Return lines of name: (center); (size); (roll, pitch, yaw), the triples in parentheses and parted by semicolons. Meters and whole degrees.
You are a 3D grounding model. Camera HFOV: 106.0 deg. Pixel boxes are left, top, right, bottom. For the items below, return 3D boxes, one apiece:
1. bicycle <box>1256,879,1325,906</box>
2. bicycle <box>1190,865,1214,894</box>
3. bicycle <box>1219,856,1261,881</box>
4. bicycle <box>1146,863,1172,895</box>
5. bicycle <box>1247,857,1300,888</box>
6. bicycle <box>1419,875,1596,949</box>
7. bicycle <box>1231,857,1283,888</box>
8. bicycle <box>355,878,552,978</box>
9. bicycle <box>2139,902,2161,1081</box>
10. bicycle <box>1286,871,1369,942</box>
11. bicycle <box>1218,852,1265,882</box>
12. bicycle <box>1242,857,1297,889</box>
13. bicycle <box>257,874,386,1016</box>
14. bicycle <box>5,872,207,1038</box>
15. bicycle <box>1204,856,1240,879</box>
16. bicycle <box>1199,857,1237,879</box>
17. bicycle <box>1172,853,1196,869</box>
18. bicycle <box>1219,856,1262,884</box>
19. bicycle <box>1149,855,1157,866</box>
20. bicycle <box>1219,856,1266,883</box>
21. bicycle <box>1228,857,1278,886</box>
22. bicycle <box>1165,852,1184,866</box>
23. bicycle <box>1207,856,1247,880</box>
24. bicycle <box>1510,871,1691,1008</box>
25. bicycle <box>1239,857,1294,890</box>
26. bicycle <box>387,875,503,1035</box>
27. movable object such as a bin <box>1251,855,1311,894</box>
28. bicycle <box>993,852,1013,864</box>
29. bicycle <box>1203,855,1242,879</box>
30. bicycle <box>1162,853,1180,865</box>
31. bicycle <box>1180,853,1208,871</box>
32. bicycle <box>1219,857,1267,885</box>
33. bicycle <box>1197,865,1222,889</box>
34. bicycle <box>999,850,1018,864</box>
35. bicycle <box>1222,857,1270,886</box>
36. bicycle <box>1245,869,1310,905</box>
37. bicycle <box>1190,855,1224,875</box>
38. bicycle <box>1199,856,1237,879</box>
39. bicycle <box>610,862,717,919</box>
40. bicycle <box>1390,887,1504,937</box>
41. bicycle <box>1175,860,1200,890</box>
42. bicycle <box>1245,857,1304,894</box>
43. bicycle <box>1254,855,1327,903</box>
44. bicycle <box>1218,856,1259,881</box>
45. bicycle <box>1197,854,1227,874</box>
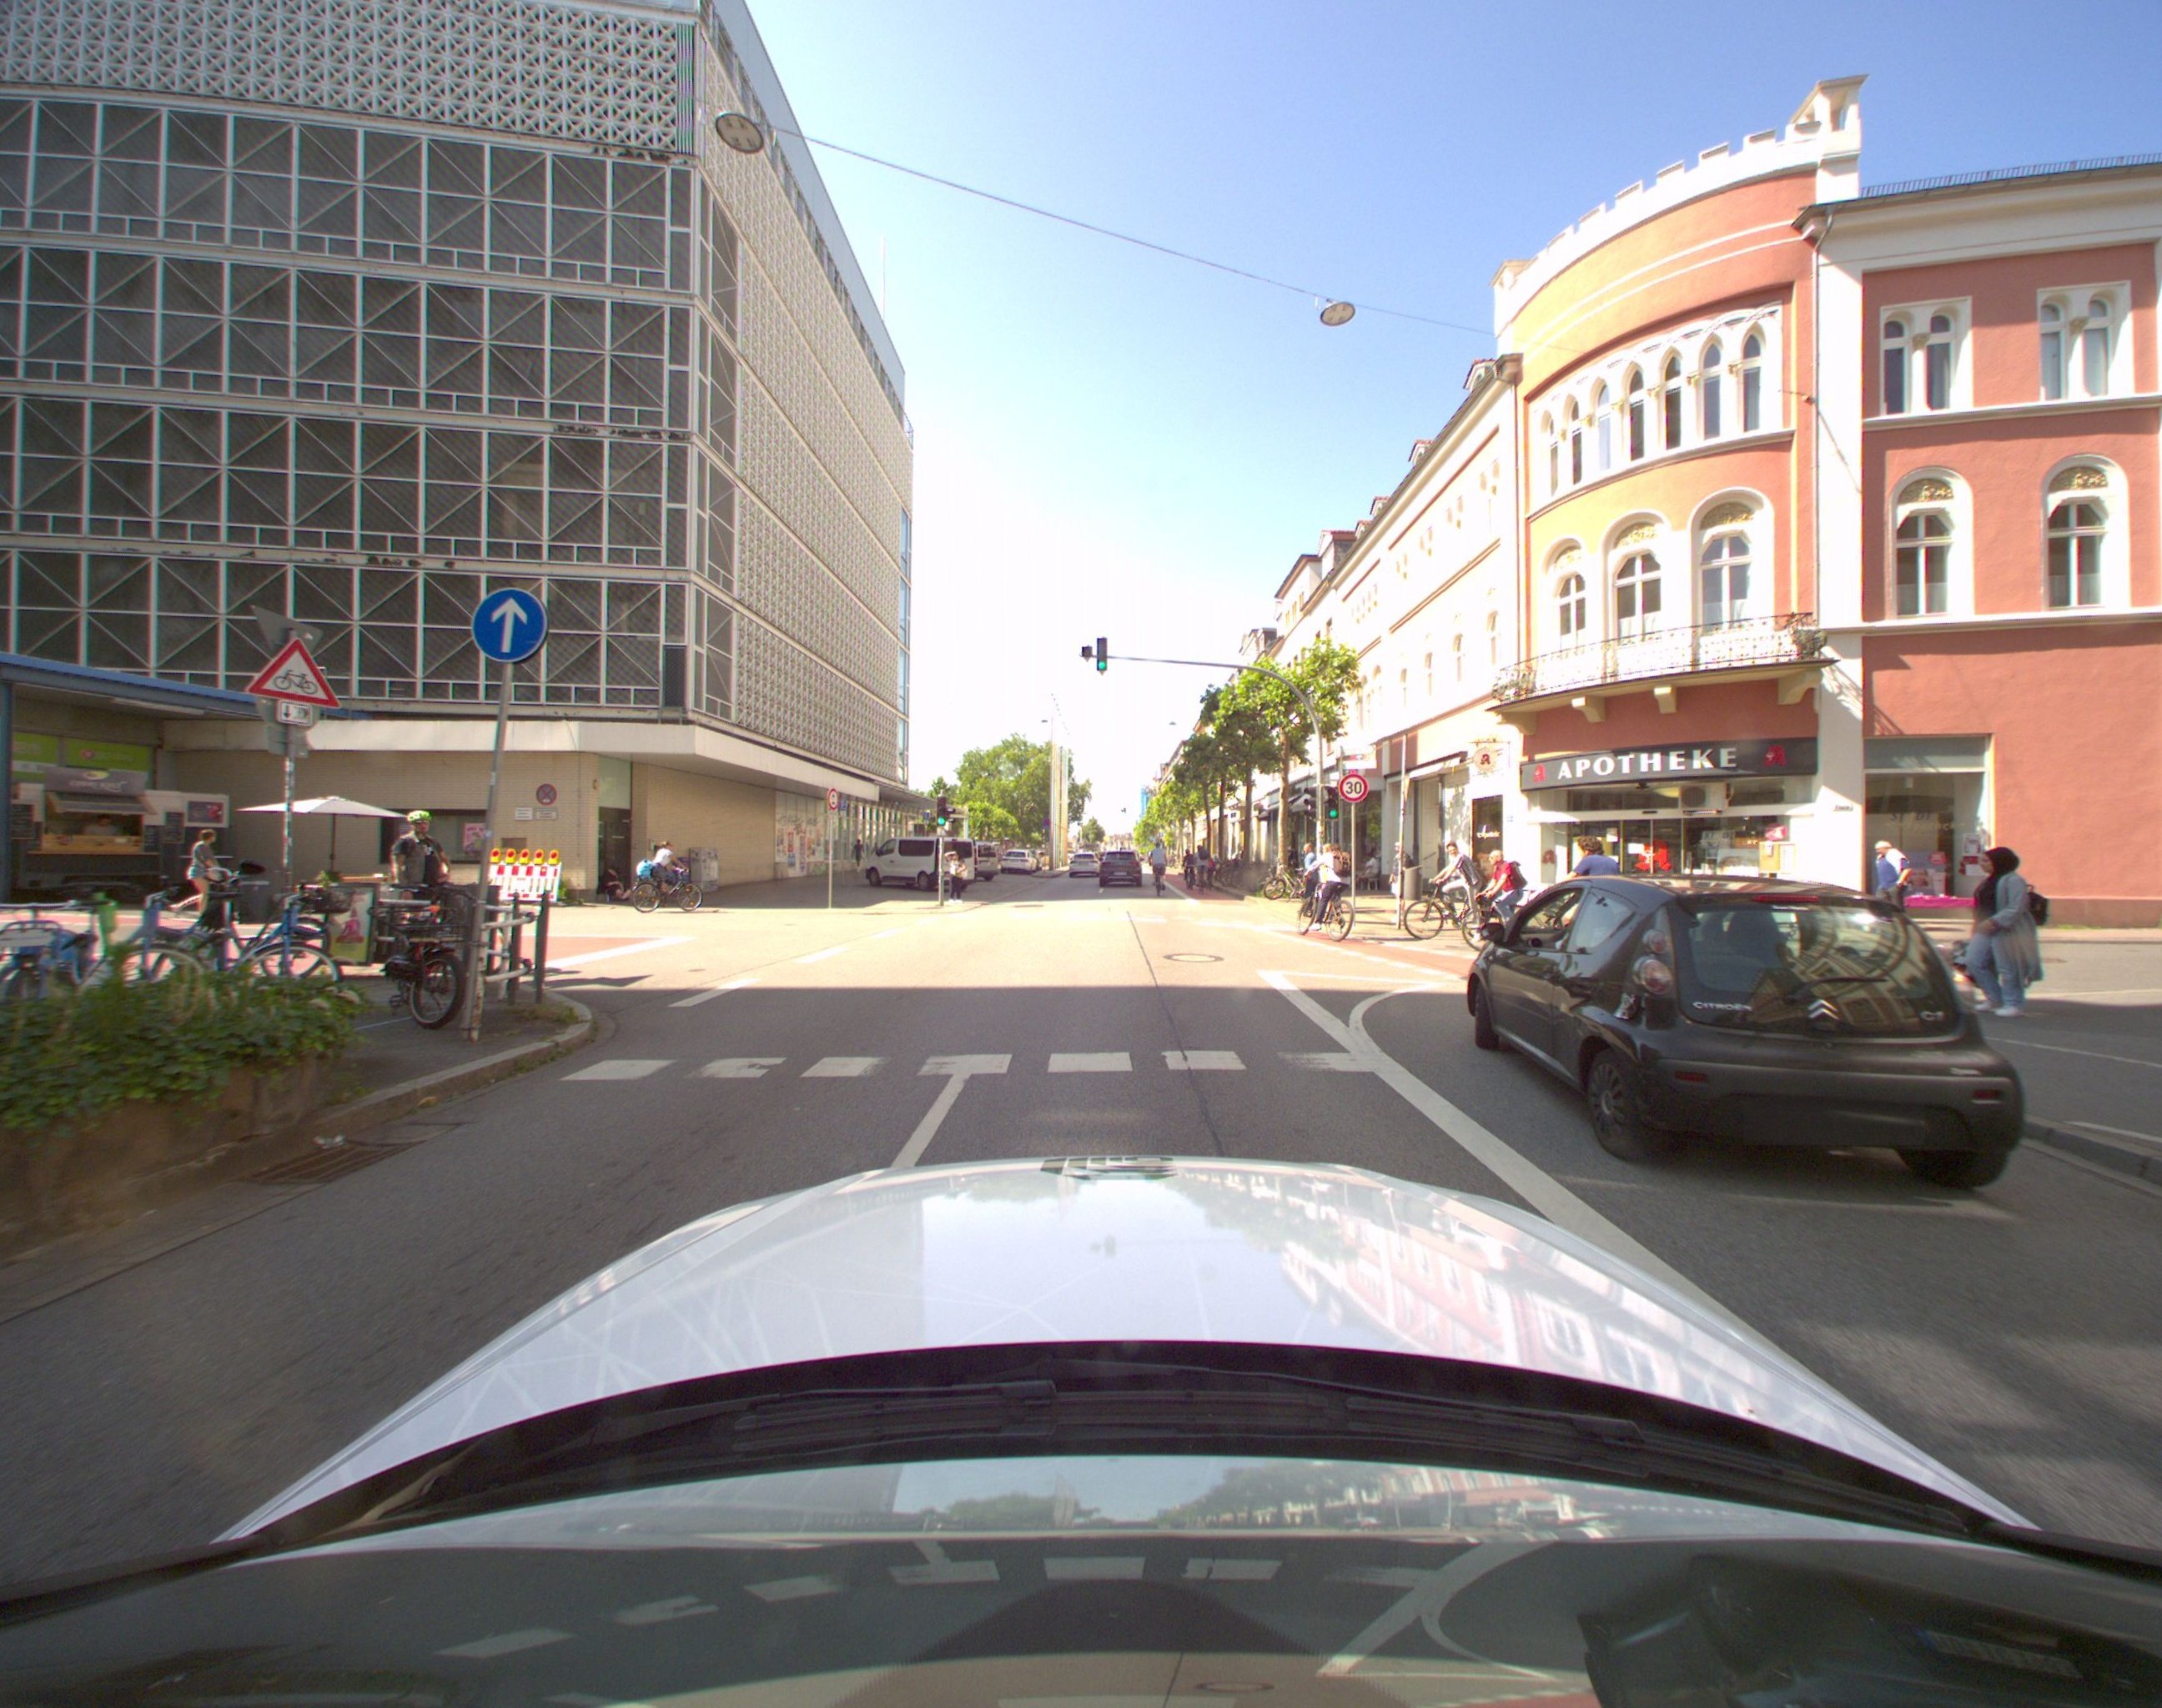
bicycle: (6.456, 1.198, 25.198); (1.142, 0.434, 1.842); (-10, -5, -23)
bicycle: (4.374, 0.903, 29.451); (0.628, 0.980, 2.090); (0, 0, 2)
bicycle: (7.218, 0.664, 36.935); (1.831, 1.127, 0.449); (0, -1, 5)
bicycle: (2.601, 0.827, 27.444); (0.771, 1.006, 2.331); (0, 0, 3)
bicycle: (7.032, 0.680, 29.838); (1.831, 1.127, 0.667); (0, -1, 4)
bicycle: (6.818, 0.917, 13.075); (2.558, 1.127, 0.628); (0, 1, -2)
bicycle: (6.560, 0.687, 30.461); (1.831, 1.127, 0.644); (0, -1, 4)
bicycle: (-7.827, 0.896, 10.202); (1.975, 1.127, 0.801); (0, 1, 9)
bicycle: (7.324, 0.886, 4.312); (0.571, 1.127, 2.070); (-2, 1, -11)
bicycle: (4.362, 0.897, 14.584); (0.697, 1.127, 2.078); (2, 0, -4)
bicycle: (6.700, 0.550, 34.009); (1.830, 1.127, 0.681); (3, 1, 6)
bicycle: (6.663, 0.677, 28.880); (1.831, 1.127, 0.667); (0, -1, 4)
bicycle: (-7.242, 0.789, 7.730); (2.038, 1.169, 0.609); (-1, -1, 39)
bicycle: (-7.938, 0.743, 6.609); (2.038, 1.127, 0.651); (1, 0, 28)
bicycle: (6.876, 0.656, 39.739); (1.853, 1.127, 0.588); (1, -1, -34)
bicycle: (7.201, 0.711, 42.801); (1.839, 1.093, 0.563); (2, 0, -9)
bicycle: (8.198, 0.530, 64.602); (1.830, 1.186, 0.671); (2, 0, 7)
bicycle: (7.081, 0.702, 36.137); (1.827, 1.127, 0.532); (2, -1, 14)
bicycle: (6.760, 0.580, 76.255); (0.644, 0.998, 2.032); (0, 0, 2)
bicycle: (7.034, 0.678, 35.425); (1.971, 1.127, 0.764); (0, -1, 15)
bicycle: (6.629, 0.678, 31.507); (1.831, 1.127, 0.667); (0, -1, 4)
bicycle: (8.699, 0.464, 75.952); (1.720, 1.217, 0.478); (1, 0, 4)
bicycle: (6.946, 0.669, 38.706); (1.822, 1.127, 0.451); (-1, -1, 30)
bicycle: (5.848, 0.890, 9.369); (0.729, 1.268, 2.285); (1, 1, 4)
bicycle: (6.384, 0.675, 28.112); (1.829, 1.127, 0.668); (0, -1, 9)
bicycle: (-5.671, 0.801, 7.214); (0.608, 1.173, 2.039); (2, -1, -43)
movable object such as a bin: (6.691, 0.671, 27.237); (1.836, 1.189, 0.656); (2, 0, 17)
bicycle: (-7.541, 0.391, 78.756); (1.776, 1.132, 0.562); (1, 0, -1)
bicycle: (7.305, 0.670, 42.054); (1.840, 1.127, 0.763); (3, -2, -11)
bicycle: (9.129, 0.464, 82.892); (1.835, 1.201, 0.609); (1, 0, 4)
bicycle: (7.742, 0.549, 55.778); (1.829, 1.197, 0.675); (1, 0, 9)
bicycle: (6.559, 0.698, 33.017); (1.831, 1.127, 0.530); (0, -1, 4)
bicycle: (5.141, 0.900, 32.673); (0.598, 0.926, 2.086); (2, -1, -1)
bicycle: (-7.278, 0.284, 81.542); (1.776, 1.309, 0.663); (1, 0, -1)
bicycle: (6.541, 0.696, 32.323); (1.831, 1.127, 0.667); (0, -1, 4)
bicycle: (6.262, 1.056, 26.007); (1.842, 0.397, 1.019); (8, -35, 6)
bicycle: (7.371, 0.640, 47.755); (1.837, 1.126, 0.496); (2, 1, -6)
bicycle: (6.915, 0.695, 41.094); (1.832, 1.093, 0.565); (2, 0, 2)
bicycle: (-10.164, 0.852, 19.897); (0.726, 1.267, 2.225); (0, 0, 39)
bicycle: (6.562, 1.038, 14.644); (1.814, 0.844, 0.501); (0, 0, 3)
bicycle: (4.274, 0.821, 32.754); (0.696, 1.127, 2.080); (2, 0, -1)
bicycle: (6.369, 0.693, 26.806); (1.825, 1.126, 0.347); (2, 1, 17)
bicycle: (5.968, 0.692, 23.283); (1.833, 1.188, 0.721); (5, 4, 40)
bicycle: (7.221, 0.664, 37.395); (1.831, 1.127, 0.449); (0, -1, 5)
bicycle: (7.927, 0.625, 49.403); (1.783, 1.197, 0.573); (1, 0, -25)
